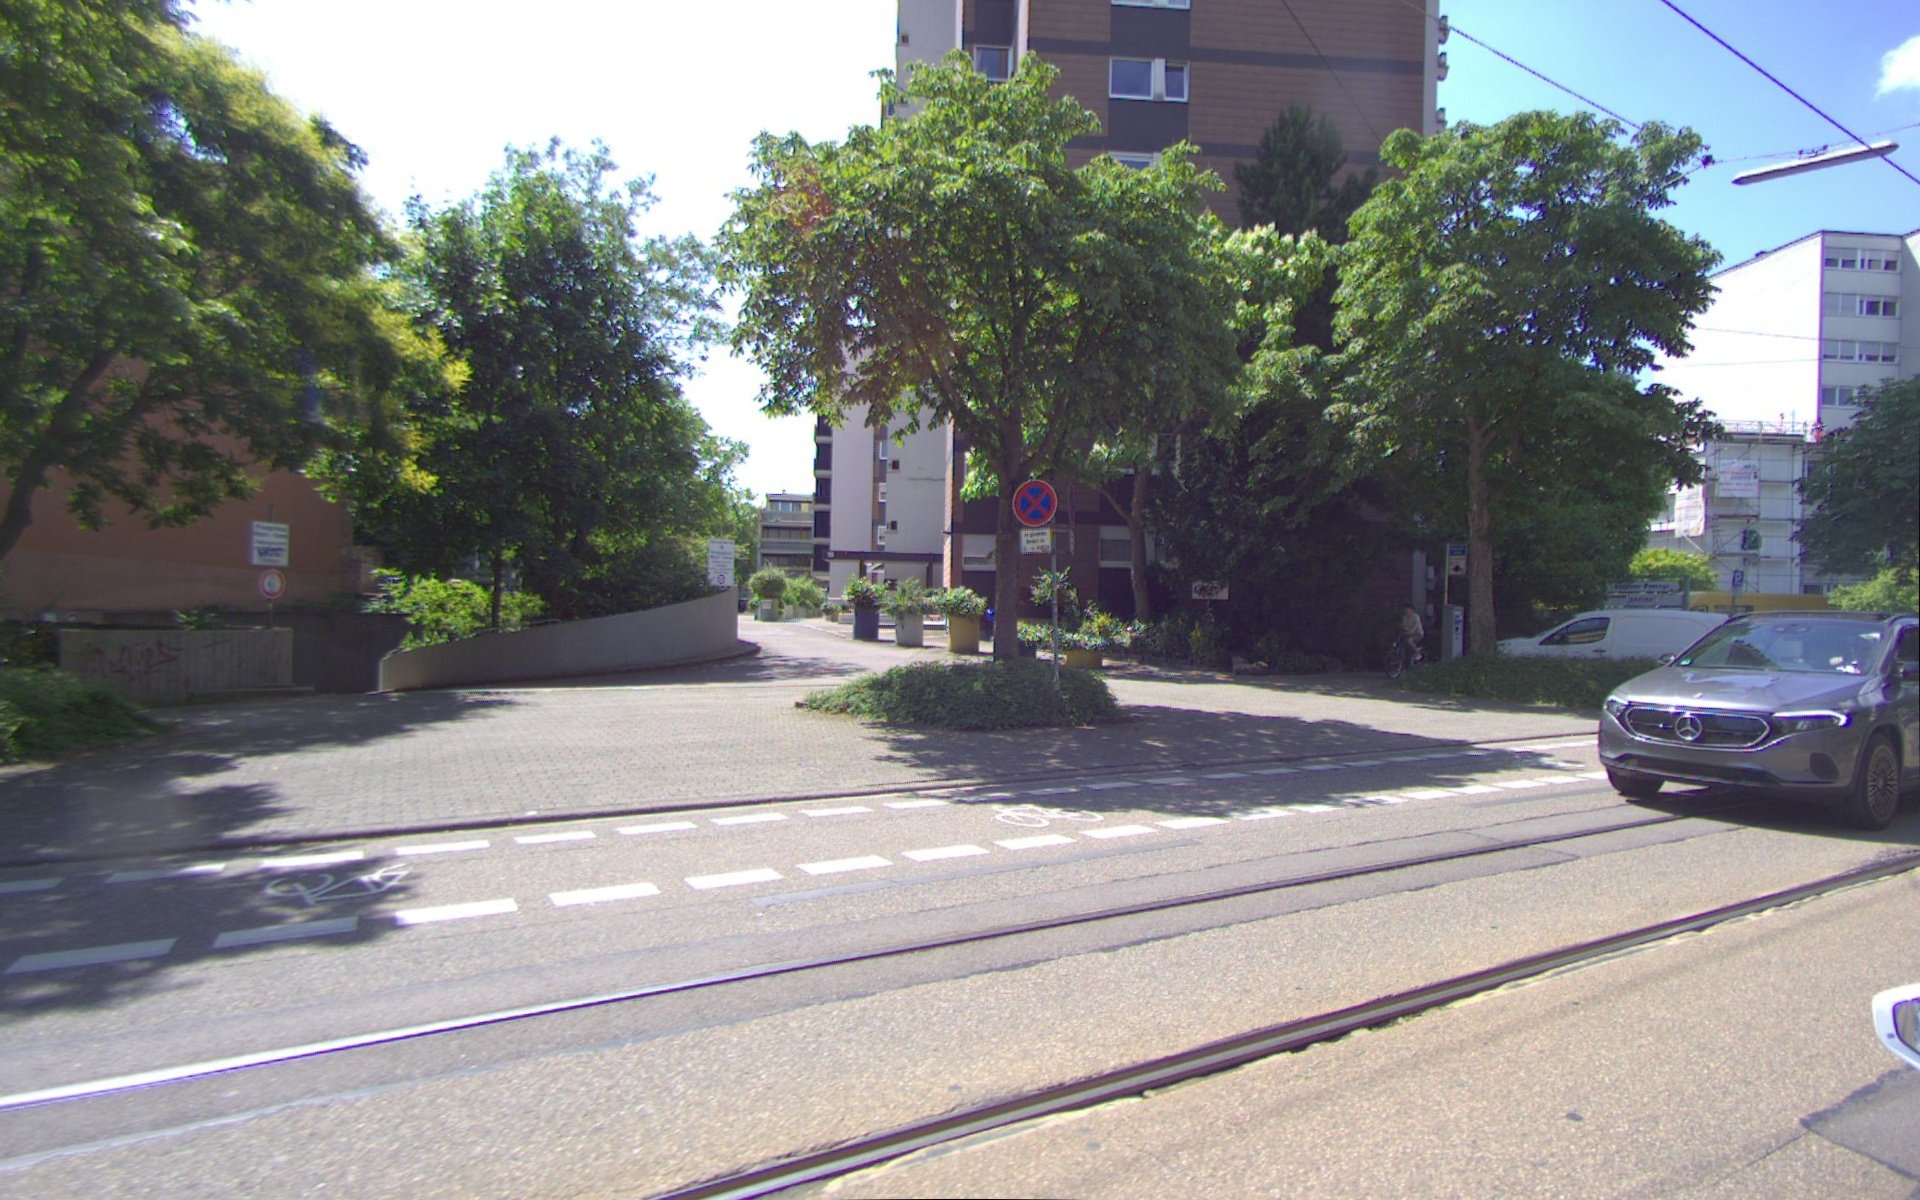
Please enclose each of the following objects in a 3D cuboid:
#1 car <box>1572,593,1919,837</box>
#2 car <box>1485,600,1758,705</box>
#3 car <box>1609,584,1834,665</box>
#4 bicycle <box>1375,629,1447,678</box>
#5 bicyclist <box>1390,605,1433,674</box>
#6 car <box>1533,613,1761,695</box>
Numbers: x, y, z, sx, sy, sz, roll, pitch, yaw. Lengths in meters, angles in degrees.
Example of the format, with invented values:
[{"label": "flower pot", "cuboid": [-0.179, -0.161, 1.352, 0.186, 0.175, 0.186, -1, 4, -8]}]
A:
[{"label": "car", "cuboid": [7.473, 0.854, 8.847, 4.135, 1.703, 1.822, 2, -1, -30]}, {"label": "car", "cuboid": [13.369, 0.997, 20.689, 4.465, 1.815, 1.898, 2, 1, 28]}, {"label": "car", "cuboid": [28.134, 0.883, 37.250, 6.592, 2.599, 2.185, 3, 0, 0]}, {"label": "bicycle", "cuboid": [10.164, 1.195, 22.625, 1.856, 1.061, 0.515, 1, 1, -33]}, {"label": "bicyclist", "cuboid": [10.165, 0.889, 22.618, 0.772, 1.501, 0.478, 1, 1, -32]}, {"label": "car", "cuboid": [15.414, 1.164, 22.769, 3.872, 1.553, 1.772, 2, 1, 19]}]
